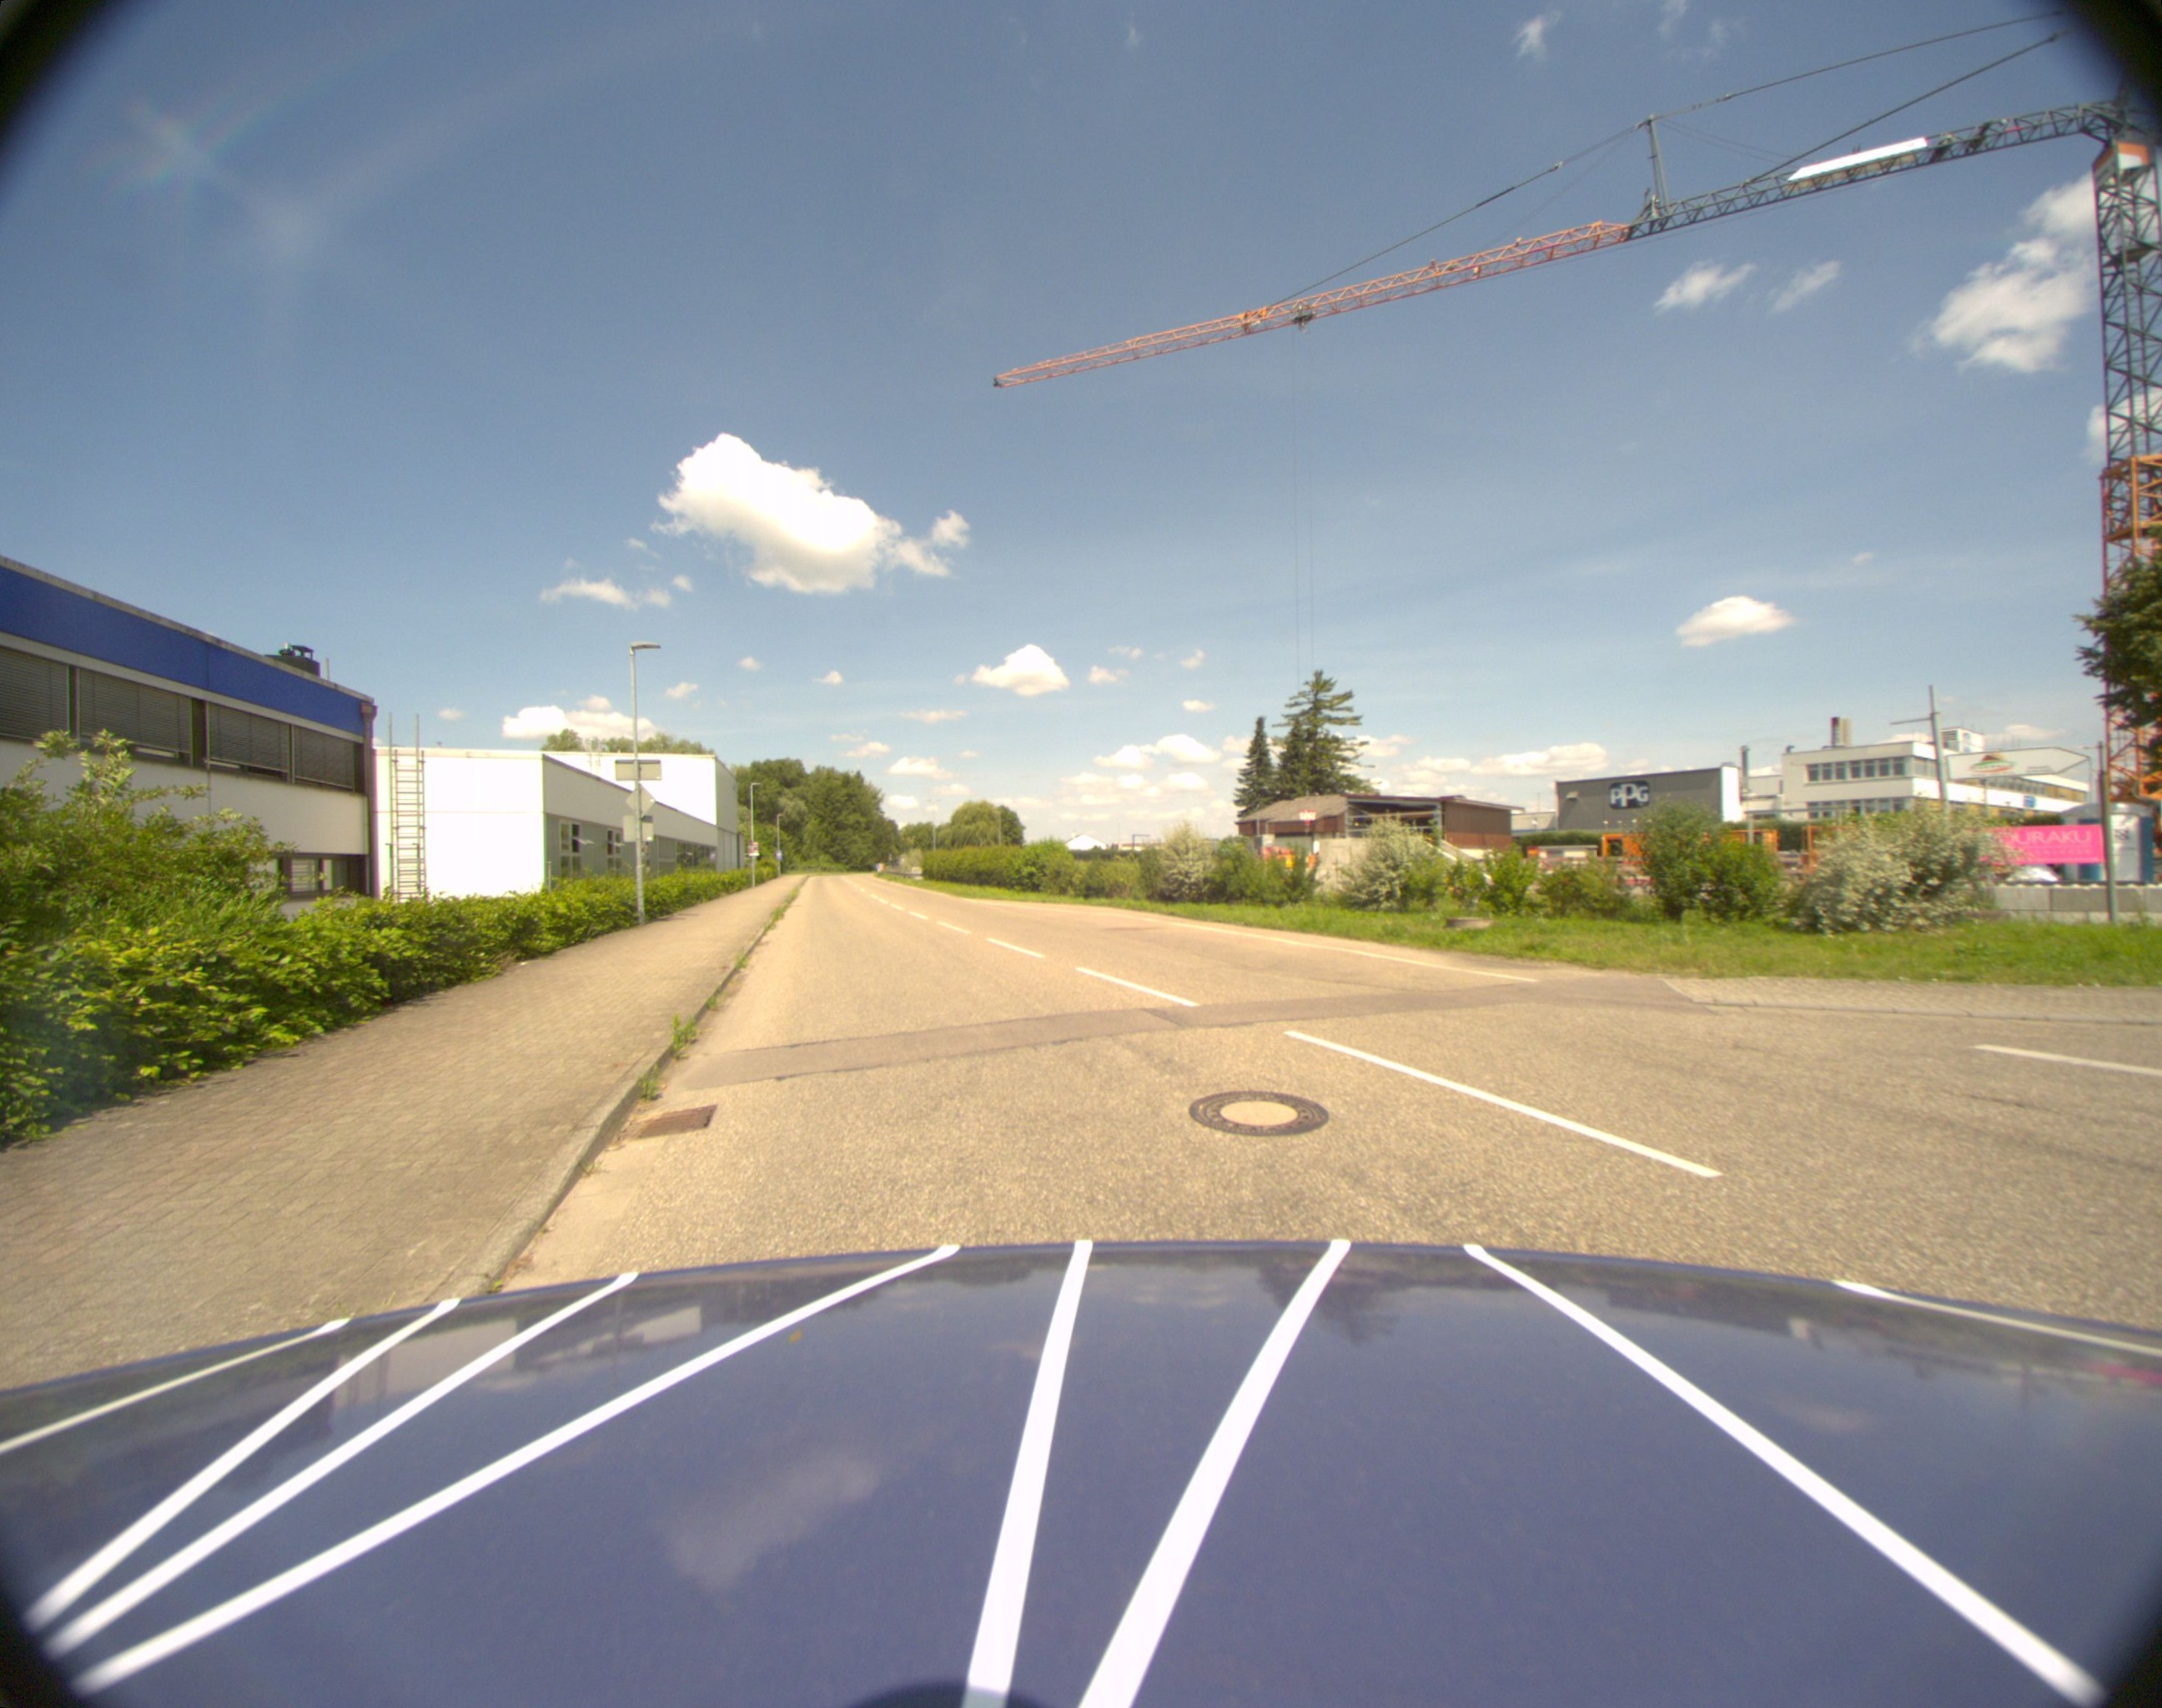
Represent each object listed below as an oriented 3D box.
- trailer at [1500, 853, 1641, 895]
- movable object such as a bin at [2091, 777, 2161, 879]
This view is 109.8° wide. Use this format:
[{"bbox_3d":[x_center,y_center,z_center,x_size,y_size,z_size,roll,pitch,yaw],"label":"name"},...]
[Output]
[{"bbox_3d":[23.303,0.936,36.347,5.384,1.769,1.825,-1,2,43],"label":"trailer"},{"bbox_3d":[37.746,-0.947,24.903,5.115,3.276,2.399,-1,5,40],"label":"movable object such as a bin"}]
